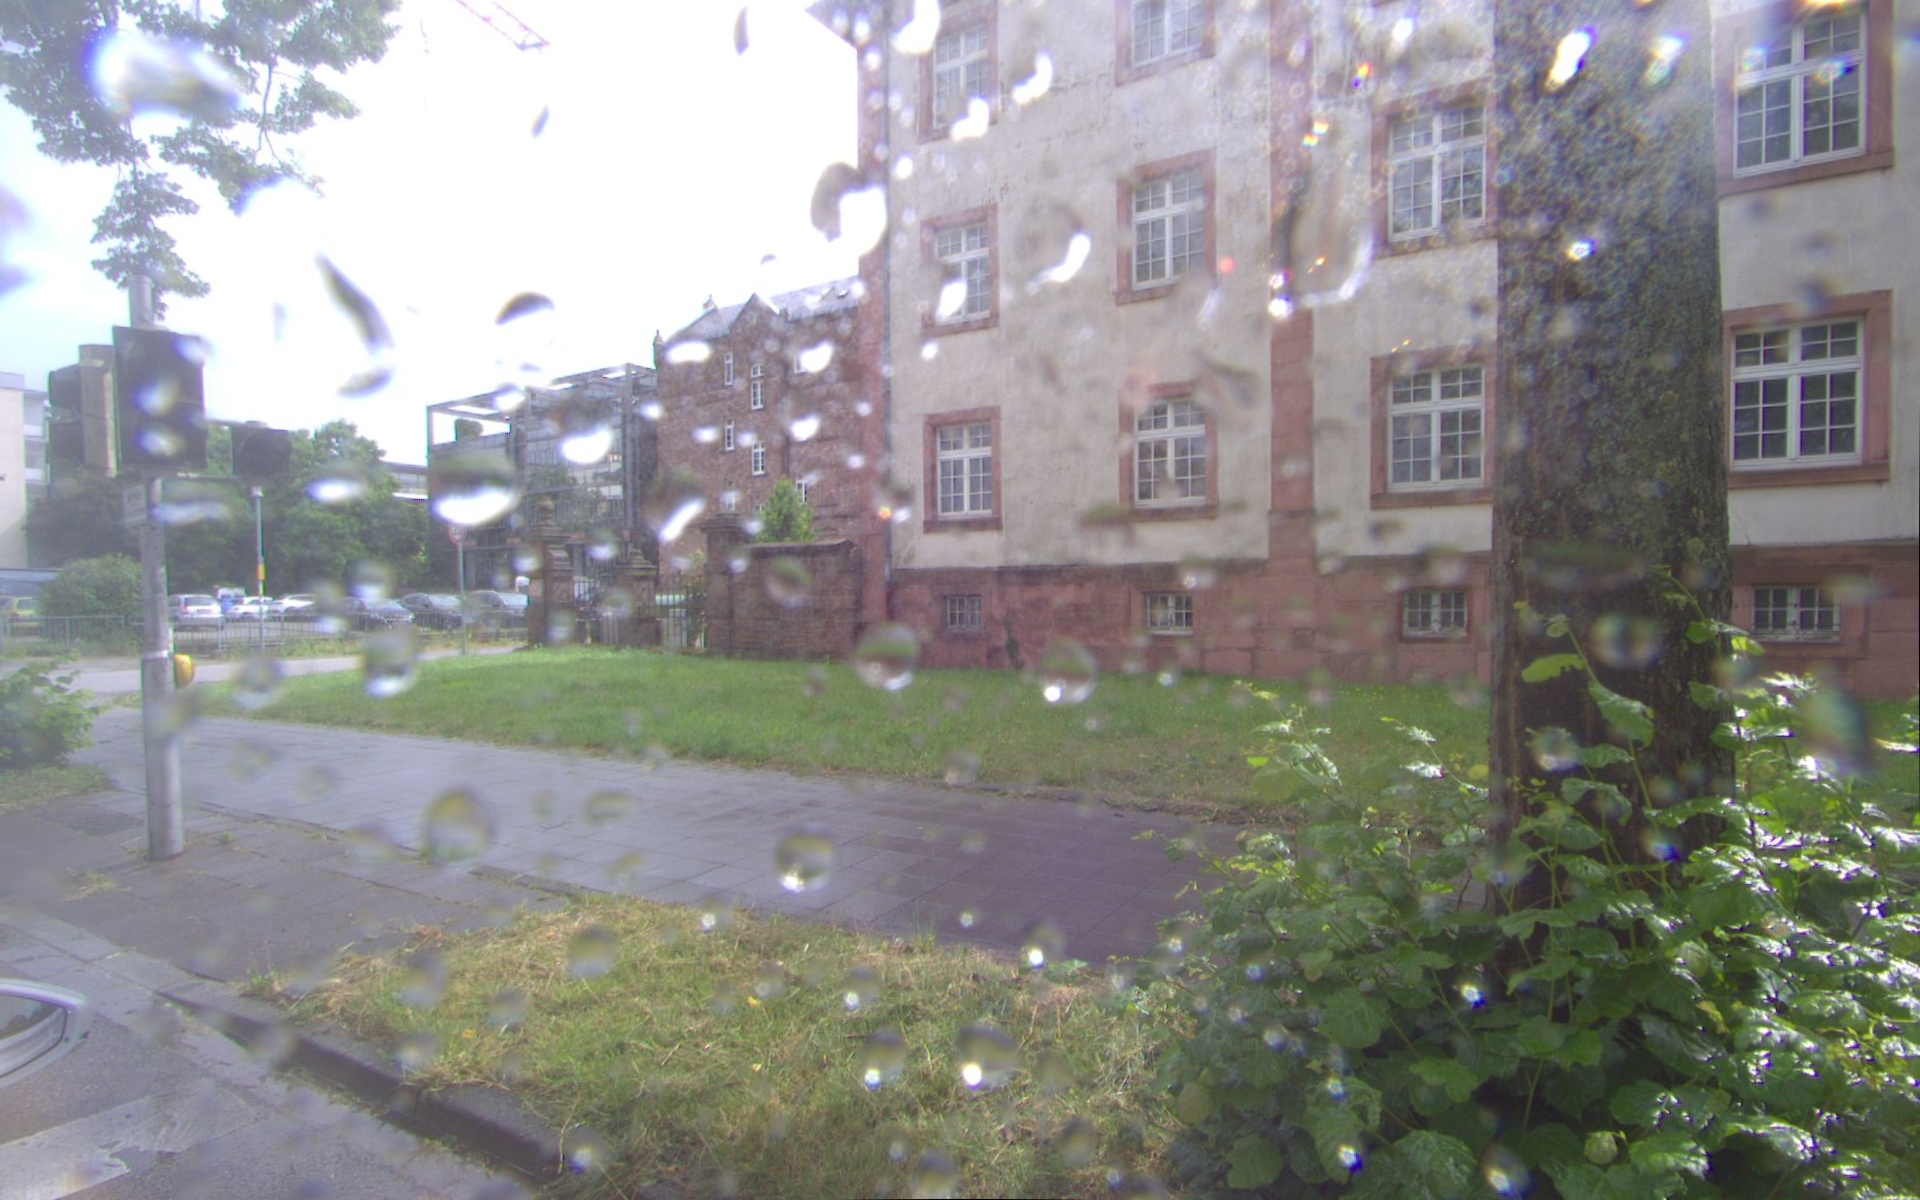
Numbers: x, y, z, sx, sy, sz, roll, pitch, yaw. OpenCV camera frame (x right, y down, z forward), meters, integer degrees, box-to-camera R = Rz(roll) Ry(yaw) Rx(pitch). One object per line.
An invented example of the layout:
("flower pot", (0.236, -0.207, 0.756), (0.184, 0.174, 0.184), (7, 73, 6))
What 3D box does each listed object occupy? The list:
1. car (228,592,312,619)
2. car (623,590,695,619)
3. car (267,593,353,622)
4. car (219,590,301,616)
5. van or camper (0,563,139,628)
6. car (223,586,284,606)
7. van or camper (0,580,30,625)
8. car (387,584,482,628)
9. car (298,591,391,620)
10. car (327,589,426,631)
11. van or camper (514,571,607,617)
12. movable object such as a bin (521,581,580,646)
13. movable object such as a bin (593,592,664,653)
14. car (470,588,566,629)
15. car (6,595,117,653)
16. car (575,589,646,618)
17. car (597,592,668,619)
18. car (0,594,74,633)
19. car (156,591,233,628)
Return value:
("car", (-40.162, 0.292, 58.337), (1.617, 1.506, 3.654), (0, 1, 36))
("car", (-16.907, 0.232, 56.420), (1.649, 1.545, 3.656), (0, 1, 34))
("car", (-35.840, 0.381, 55.263), (1.617, 1.506, 3.654), (0, 1, 36))
("car", (-41.779, 0.151, 59.814), (1.617, 1.506, 3.654), (0, 1, 36))
("van or camper", (-38.325, -0.169, 42.506), (2.145, 2.588, 4.986), (-1, 0, 34))
("car", (-50.392, -0.298, 71.462), (1.489, 1.416, 3.214), (0, 1, 36))
("van or camper", (-47.406, 0.132, 47.302), (2.291, 2.160, 4.743), (1, 1, 36))
("car", (-21.670, 0.222, 41.201), (4.368, 1.702, 1.845), (0, 1, 39))
("car", (-33.387, 0.263, 54.441), (1.649, 1.485, 3.962), (0, 1, 34))
("car", (-22.738, 0.374, 38.962), (4.367, 1.547, 1.822), (0, 1, 38))
("van or camper", (-23.733, -0.286, 59.600), (2.226, 2.518, 4.778), (-1, -2, 32))
("movable object such as a bin", (-9.625, 0.298, 23.539), (1.081, 1.477, 0.797), (1, 3, 34))
("movable object such as a bin", (-8.496, 0.558, 25.660), (1.371, 1.477, 1.103), (1, 3, 34))
("car", (-19.365, 0.345, 43.806), (4.363, 1.702, 1.847), (0, 1, 35))
("car", (-29.797, 0.750, 33.177), (4.180, 1.773, 1.798), (0, 1, 35))
("car", (-20.504, 0.201, 58.826), (1.649, 1.598, 3.656), (0, 1, 34))
("car", (-18.874, 0.328, 57.796), (1.649, 1.506, 3.658), (0, -1, 34))
("car", (-36.267, 0.504, 39.196), (3.370, 1.468, 1.605), (0, 1, 35))
("car", (-33.136, 0.407, 43.337), (3.668, 1.506, 1.643), (0, 1, 36))
